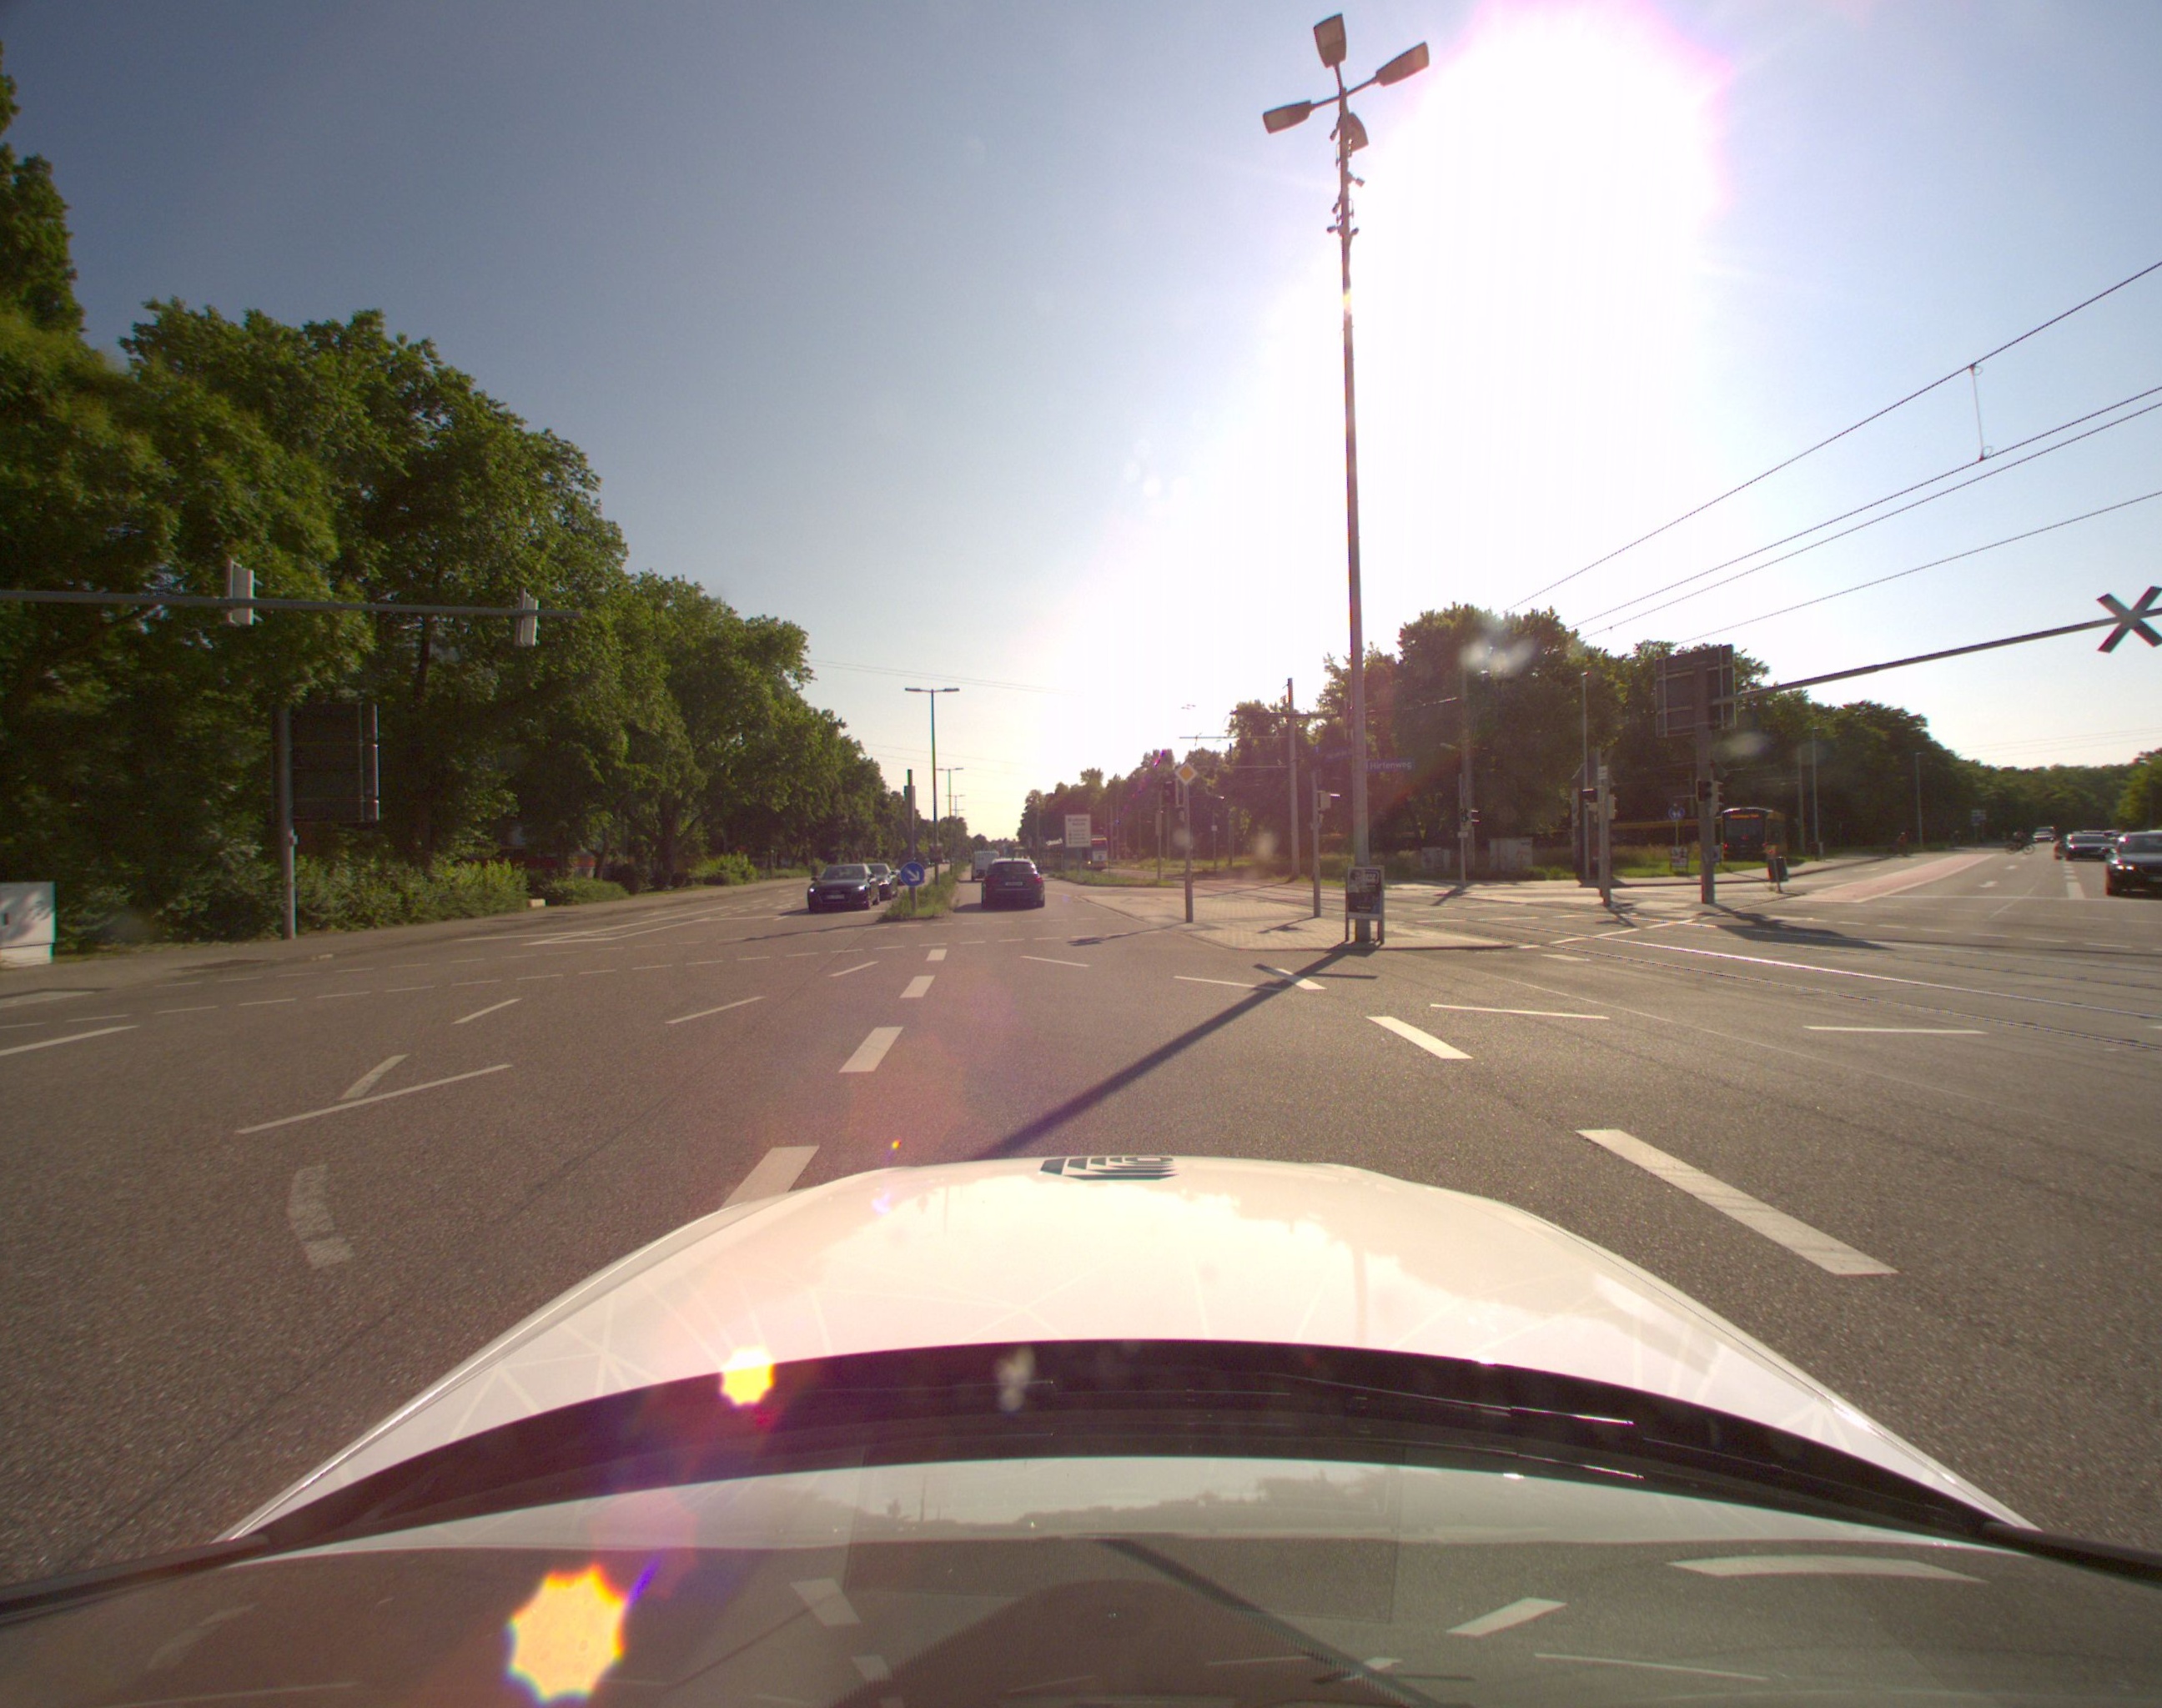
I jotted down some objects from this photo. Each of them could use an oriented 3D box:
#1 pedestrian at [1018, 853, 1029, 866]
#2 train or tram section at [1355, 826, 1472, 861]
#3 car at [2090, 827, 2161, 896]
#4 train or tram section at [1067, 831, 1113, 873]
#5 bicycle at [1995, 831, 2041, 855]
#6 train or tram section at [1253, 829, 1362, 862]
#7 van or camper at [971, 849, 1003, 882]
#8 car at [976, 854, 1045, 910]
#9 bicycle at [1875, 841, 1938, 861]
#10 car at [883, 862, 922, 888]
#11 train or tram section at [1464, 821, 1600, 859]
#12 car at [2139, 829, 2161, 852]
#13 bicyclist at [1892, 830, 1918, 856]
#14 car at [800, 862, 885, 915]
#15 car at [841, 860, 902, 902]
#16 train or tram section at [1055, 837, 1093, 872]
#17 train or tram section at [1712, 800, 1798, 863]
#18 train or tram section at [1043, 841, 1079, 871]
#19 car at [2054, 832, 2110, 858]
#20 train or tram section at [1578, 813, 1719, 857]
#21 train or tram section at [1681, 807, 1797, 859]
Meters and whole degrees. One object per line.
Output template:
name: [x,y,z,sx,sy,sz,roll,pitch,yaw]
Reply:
pedestrian: [-6.905,0.657,97.840,0.989,1.634,0.725,-1,0,25]
train or tram section: [37.951,-1.178,93.144,12.077,3.579,3.072,-2,0,26]
car: [27.713,0.133,20.970,4.885,1.562,2.021,-2,0,-37]
train or tram section: [0.676,-0.077,77.661,2.793,3.618,12.923,-1,-1,-7]
bicycle: [68.836,-0.819,59.864,0.787,1.713,2.621,-1,0,12]
train or tram section: [27.161,-0.929,98.002,12.291,3.579,3.070,-2,0,21]
van or camper: [-6.459,0.730,55.587,1.992,2.096,4.585,-1,0,-8]
car: [-2.180,0.793,25.024,1.900,1.506,4.057,-1,0,-6]
bicycle: [62.920,-0.244,62.128,1.135,1.454,3.197,0,-1,-32]
car: [-11.063,1.258,50.780,1.847,1.477,4.635,-1,0,-7]
train or tram section: [46.984,-1.403,85.403,3.071,3.579,12.081,-1,0,-43]
car: [76.152,-1.009,57.457,4.224,1.562,1.835,-1,0,-37]
bicyclist: [62.901,-0.829,62.166,1.144,2.014,1.088,0,-1,-32]
car: [-7.492,1.021,26.000,1.828,1.431,4.719,-3,0,-8]
car: [-8.249,1.017,32.397,1.828,1.435,4.368,-2,0,-9]
train or tram section: [-0.864,0.117,89.631,2.748,3.554,11.224,-1,-1,-8]
train or tram section: [43.436,-1.379,52.295,11.921,3.579,3.016,-1,0,-45]
train or tram section: [-2.668,0.332,102.500,2.683,3.481,14.924,-1,-1,-8]
car: [53.941,-0.501,43.868,4.327,1.335,1.730,-1,0,-37]
train or tram section: [51.491,-1.579,74.611,3.042,3.579,12.196,-1,0,-8]
train or tram section: [50.204,-1.501,62.695,3.019,3.579,12.292,-1,0,20]
